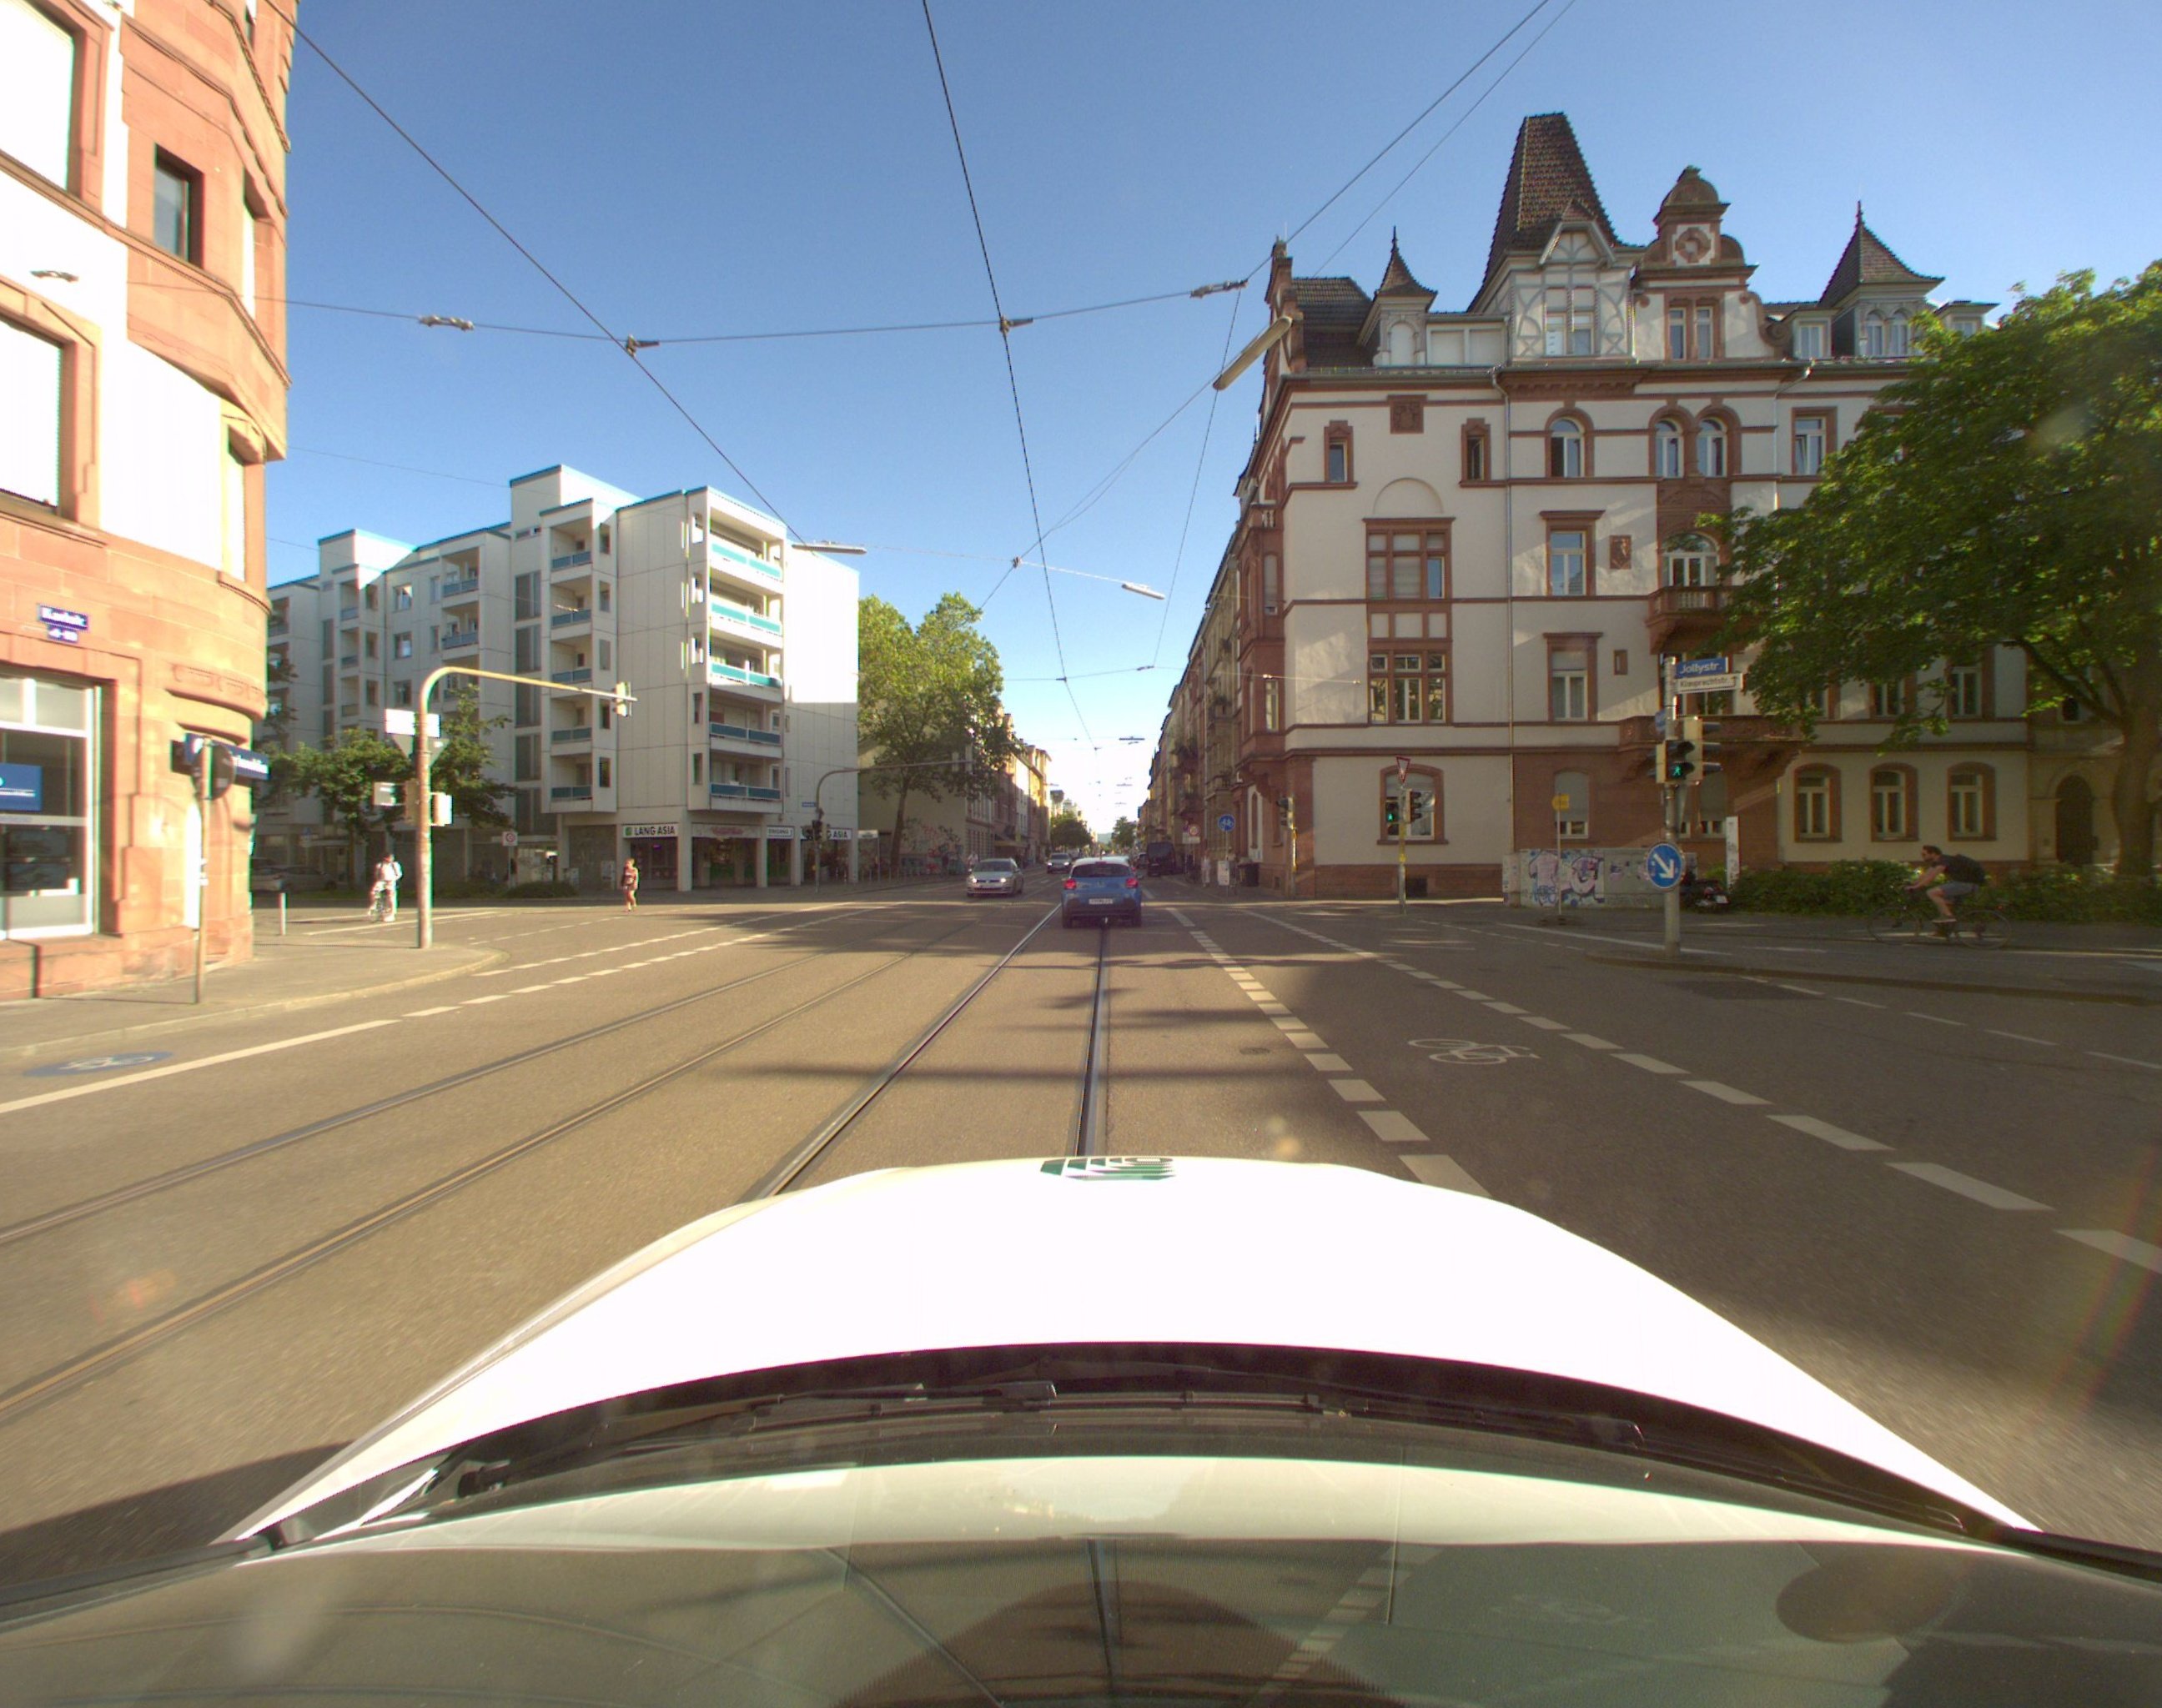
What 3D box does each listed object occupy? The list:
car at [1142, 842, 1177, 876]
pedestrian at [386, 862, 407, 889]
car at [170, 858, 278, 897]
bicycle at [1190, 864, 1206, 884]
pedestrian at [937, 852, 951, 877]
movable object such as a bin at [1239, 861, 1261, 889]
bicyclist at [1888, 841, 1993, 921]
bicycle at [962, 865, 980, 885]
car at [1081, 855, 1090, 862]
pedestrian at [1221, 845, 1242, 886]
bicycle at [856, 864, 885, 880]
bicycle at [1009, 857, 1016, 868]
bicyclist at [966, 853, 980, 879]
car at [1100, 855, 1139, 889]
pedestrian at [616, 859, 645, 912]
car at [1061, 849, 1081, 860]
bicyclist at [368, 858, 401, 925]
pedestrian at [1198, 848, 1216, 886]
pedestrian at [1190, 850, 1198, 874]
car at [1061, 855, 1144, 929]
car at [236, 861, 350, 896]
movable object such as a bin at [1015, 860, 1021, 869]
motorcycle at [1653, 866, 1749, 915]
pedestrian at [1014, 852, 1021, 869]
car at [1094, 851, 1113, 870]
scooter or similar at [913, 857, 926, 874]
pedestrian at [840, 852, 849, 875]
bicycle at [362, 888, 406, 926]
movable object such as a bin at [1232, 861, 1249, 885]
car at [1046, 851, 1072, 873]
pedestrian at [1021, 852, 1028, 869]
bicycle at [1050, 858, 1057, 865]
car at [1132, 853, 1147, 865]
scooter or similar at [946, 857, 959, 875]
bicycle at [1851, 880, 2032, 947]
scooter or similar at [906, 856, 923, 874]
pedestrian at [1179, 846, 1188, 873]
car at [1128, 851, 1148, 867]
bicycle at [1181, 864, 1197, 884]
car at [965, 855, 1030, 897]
[{"bbox_3d":[5.867,0.364,61.702,2.263,2.437,5.722,0,0,2],"label":"car"},{"bbox_3d":[-37.998,1.190,45.209,0.734,1.494,0.722,-1,-1,32],"label":"pedestrian"},{"bbox_3d":[-44.091,1.170,42.020,1.598,1.875,3.991,0,0,-6],"label":"car"},{"bbox_3d":[5.920,0.995,41.321,0.430,0.947,1.760,0,0,-5],"label":"bicycle"},{"bbox_3d":[-9.763,0.770,58.119,0.678,1.765,1.029,0,0,12],"label":"pedestrian"},{"bbox_3d":[7.395,0.912,35.666,0.664,1.153,0.594,-8,1,0],"label":"movable object such as a bin"},{"bbox_3d":[15.118,0.459,14.365,1.120,1.343,0.843,-1,0,36],"label":"bicyclist"},{"bbox_3d":[-6.340,1.198,47.130,0.690,1.120,2.084,0,0,1],"label":"bicycle"},{"bbox_3d":[1.120,1.113,188.590,1.986,1.651,4.000,0,0,1],"label":"car"},{"bbox_3d":[6.639,0.503,36.004,0.703,1.782,0.673,-4,-1,0],"label":"pedestrian"},{"bbox_3d":[-14.053,1.181,54.270,1.898,1.034,0.669,0,0,28],"label":"bicycle"},{"bbox_3d":[-7.483,0.884,88.877,0.621,1.159,2.057,0,0,-11],"label":"bicycle"},{"bbox_3d":[-6.335,0.688,47.698,0.680,1.483,0.778,0,0,1],"label":"bicyclist"},{"bbox_3d":[1.744,0.778,37.670,1.661,1.478,4.000,-1,0,1],"label":"car"},{"bbox_3d":[-13.218,0.917,23.907,0.541,1.552,0.516,0,-1,0],"label":"pedestrian"},{"bbox_3d":[-2.483,0.201,202.673,4.328,2.581,2.192,-2,0,-24],"label":"car"},{"bbox_3d":[-18.841,0.990,22.038,0.618,1.764,0.963,0,-1,-38],"label":"bicyclist"},{"bbox_3d":[5.693,0.588,36.837,0.626,1.701,0.681,0,0,-7],"label":"pedestrian"},{"bbox_3d":[8.422,0.612,60.801,0.551,1.782,0.606,0,-1,0],"label":"pedestrian"},{"bbox_3d":[0.410,0.769,18.537,1.669,1.477,3.998,0,0,-1],"label":"car"},{"bbox_3d":[-38.840,1.166,40.288,1.594,1.486,4.003,2,1,3],"label":"car"},{"bbox_3d":[-6.698,1.088,86.841,0.608,0.914,0.695,-1,0,2],"label":"movable object such as a bin"},{"bbox_3d":[15.445,0.873,20.369,0.609,1.125,2.391,0,0,1],"label":"motorcycle"},{"bbox_3d":[-6.692,0.688,86.203,0.708,1.764,0.570,-1,-1,0],"label":"pedestrian"},{"bbox_3d":[2.417,0.714,89.059,1.986,2.014,4.000,-1,0,1],"label":"car"},{"bbox_3d":[-12.154,0.857,61.439,0.937,1.222,0.765,0,0,-11],"label":"scooter or similar"},{"bbox_3d":[-17.555,0.700,60.430,0.454,1.718,0.547,-1,-1,1],"label":"pedestrian"},{"bbox_3d":[-18.901,1.411,22.115,0.795,0.909,1.794,0,0,-37],"label":"bicycle"},{"bbox_3d":[7.210,0.842,36.813,0.663,1.077,0.571,-1,0,0],"label":"movable object such as a bin"},{"bbox_3d":[-1.852,0.674,69.646,1.987,1.744,4.563,0,0,1],"label":"car"},{"bbox_3d":[-5.982,0.668,86.380,0.709,1.764,0.653,0,-1,-7],"label":"pedestrian"},{"bbox_3d":[-5.211,1.404,153.621,1.118,1.319,3.639,0,0,-4],"label":"bicycle"},{"bbox_3d":[8.136,0.689,113.007,1.997,1.672,4.393,0,0,2],"label":"car"},{"bbox_3d":[-9.770,0.918,61.959,0.785,1.271,1.075,2,1,1],"label":"scooter or similar"},{"bbox_3d":[15.087,1.010,14.380,2.070,1.045,0.853,0,0,36],"label":"bicycle"},{"bbox_3d":[-12.407,0.812,60.617,1.228,1.258,0.765,0,0,-11],"label":"scooter or similar"},{"bbox_3d":[7.783,0.438,62.015,0.583,2.014,0.823,0,0,1],"label":"pedestrian"},{"bbox_3d":[6.210,0.503,89.127,1.998,1.672,4.807,-1,0,2],"label":"car"},{"bbox_3d":[5.454,1.014,41.272,0.430,0.947,1.760,0,0,-5],"label":"bicycle"},{"bbox_3d":[-3.137,0.792,31.354,1.978,1.502,4.309,0,0,1],"label":"car"}]
